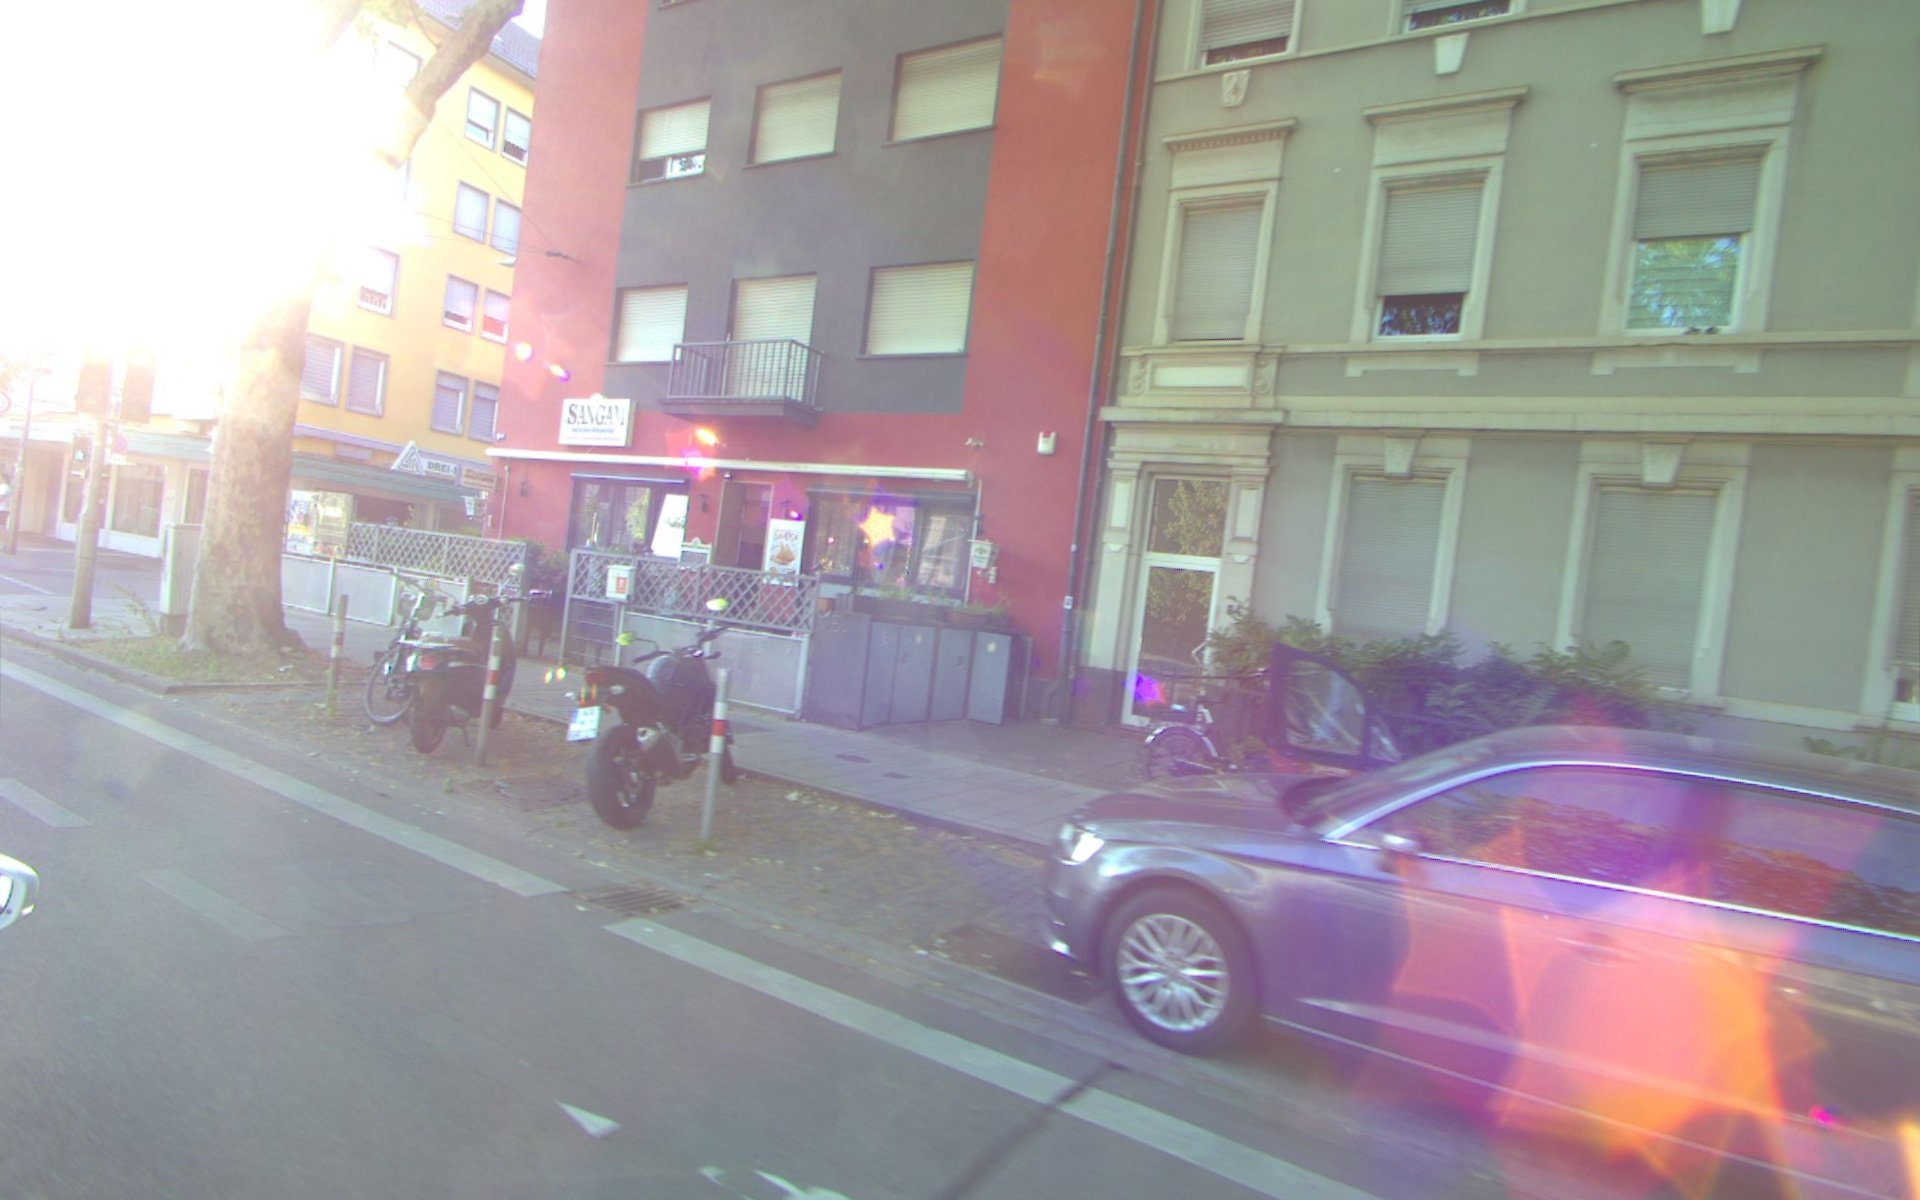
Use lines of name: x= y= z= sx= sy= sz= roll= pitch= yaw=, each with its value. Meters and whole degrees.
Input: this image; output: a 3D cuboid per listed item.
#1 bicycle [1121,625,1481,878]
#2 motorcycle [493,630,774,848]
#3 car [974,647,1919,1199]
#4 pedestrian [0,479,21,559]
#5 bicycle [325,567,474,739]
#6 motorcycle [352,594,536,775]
bicycle: x=2.509 y=1.059 z=7.594 sx=2.357 sy=1.443 sz=0.608 roll=6 pitch=-2 yaw=32
motorcycle: x=-2.042 y=0.807 z=6.732 sx=0.752 sy=1.076 sz=2.213 roll=7 pitch=1 yaw=10
car: x=2.369 y=1.183 z=3.888 sx=4.250 sy=1.414 sz=1.712 roll=7 pitch=0 yaw=32
pedestrian: x=-22.128 y=-1.883 z=23.001 sx=0.676 sy=1.792 sz=0.680 roll=7 pitch=1 yaw=32
bicycle: x=-4.839 y=0.400 z=8.811 sx=0.686 sy=1.218 sz=1.838 roll=8 pitch=2 yaw=-19
motorcycle: x=-3.895 y=0.570 z=7.778 sx=0.591 sy=1.166 sz=1.995 roll=7 pitch=0 yaw=-10
